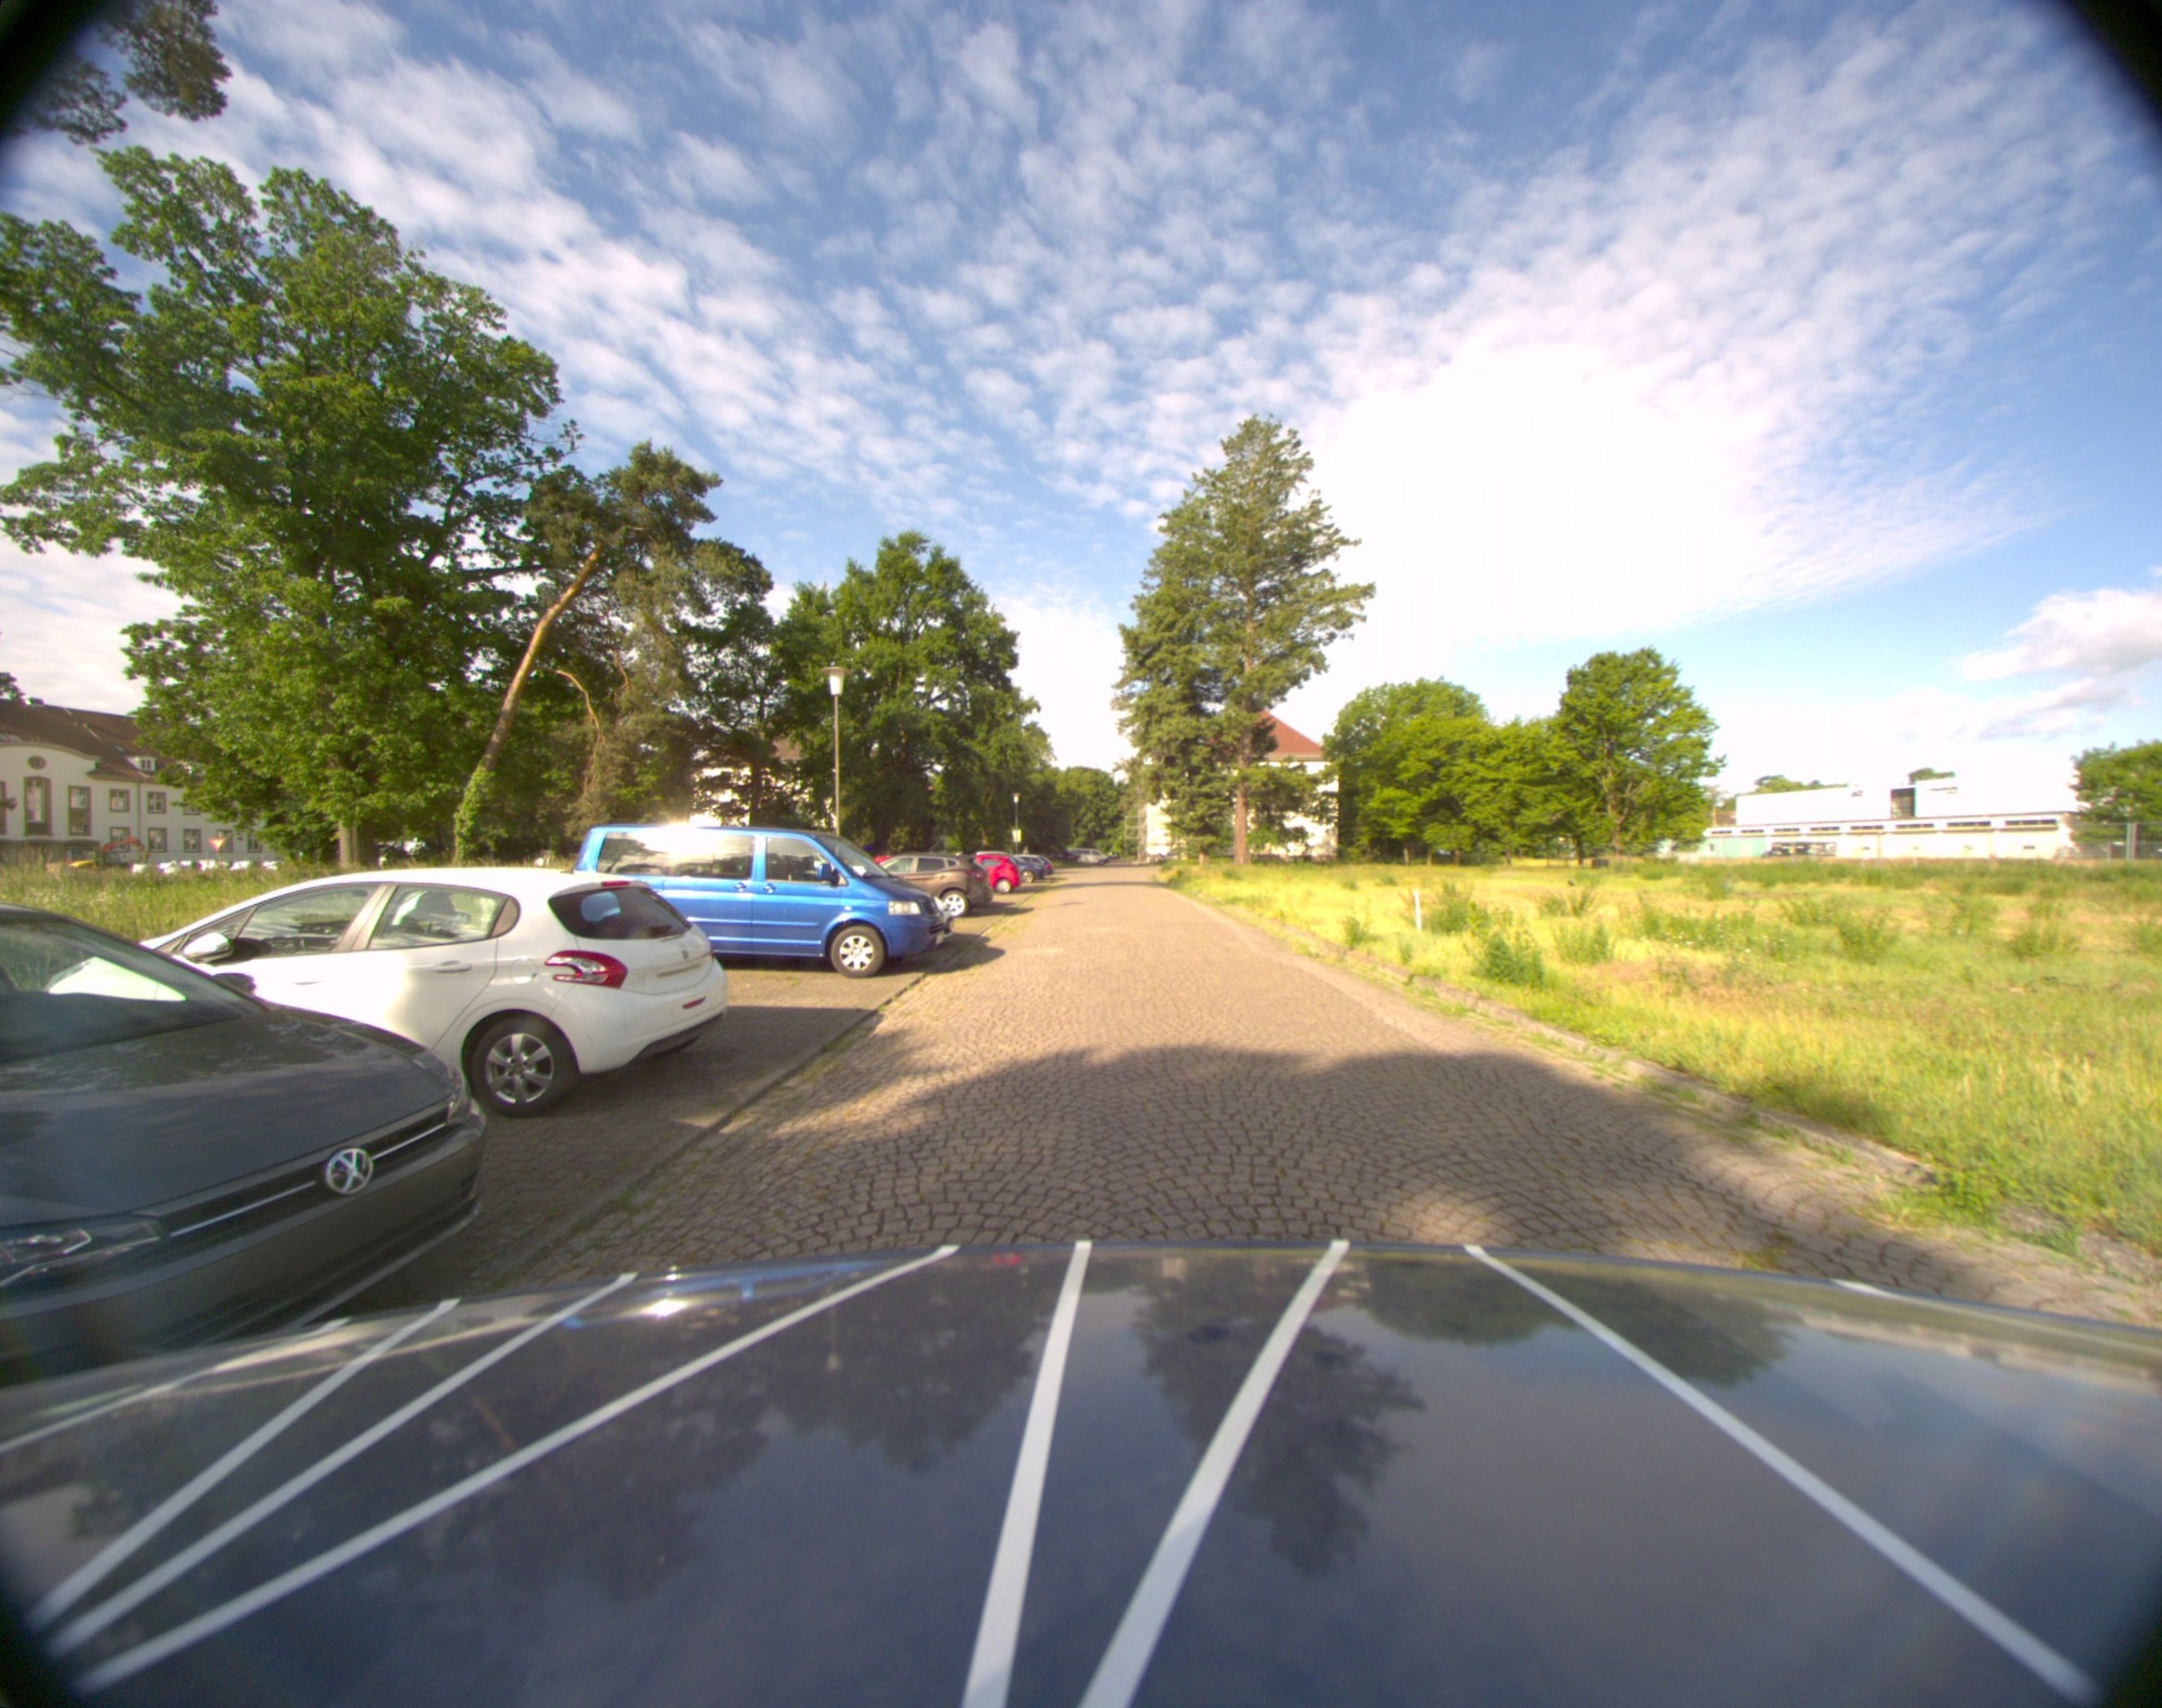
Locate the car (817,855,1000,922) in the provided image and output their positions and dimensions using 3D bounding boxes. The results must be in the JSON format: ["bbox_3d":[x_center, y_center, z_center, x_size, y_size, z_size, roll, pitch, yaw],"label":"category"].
[{"bbox_3d":[-4.292,0.830,19.445,4.237,1.589,1.934,0,1,-2],"label":"car"}]

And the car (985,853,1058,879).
[{"bbox_3d":[-3.468,0.667,44.684,4.097,1.415,1.784,1,0,0],"label":"car"}]

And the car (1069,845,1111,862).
[{"bbox_3d":[1.105,-0.047,93.441,4.933,2.002,1.999,1,1,-5],"label":"car"}]

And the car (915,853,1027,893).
[{"bbox_3d":[-4.268,0.733,29.844,4.097,1.451,1.853,1,0,0],"label":"car"}]

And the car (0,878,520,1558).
[{"bbox_3d":[-4.267,0.835,2.339,3.716,1.440,1.856,1,0,2],"label":"car"}]

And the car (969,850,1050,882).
[{"bbox_3d":[-3.714,0.616,40.062,4.097,1.548,1.853,1,0,0],"label":"car"}]

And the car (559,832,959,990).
[{"bbox_3d":[-4.239,0.707,10.596,4.710,1.924,2.000,1,1,1],"label":"car"}]

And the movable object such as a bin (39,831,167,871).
[{"bbox_3d":[-87.904,-0.272,68.500,6.460,3.282,2.859,-4,2,-42],"label":"movable object such as a bin"}]

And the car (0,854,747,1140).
[{"bbox_3d":[-4.531,0.801,5.167,3.716,1.525,1.761,1,0,2],"label":"car"}]

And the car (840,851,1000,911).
[{"bbox_3d":[-4.588,0.751,22.156,4.237,1.589,1.934,1,1,-2],"label":"car"}]

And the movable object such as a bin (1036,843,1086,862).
[{"bbox_3d":[-2.123,-0.155,80.548,4.865,2.002,2.002,-1,1,14],"label":"movable object such as a bin"}]

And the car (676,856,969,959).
[{"bbox_3d":[-4.325,0.860,13.220,4.408,1.568,1.939,1,1,1],"label":"car"}]

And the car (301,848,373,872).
[{"bbox_3d":[-66.785,0.538,68.268,1.906,1.928,4.395,-2,1,2],"label":"car"}]
